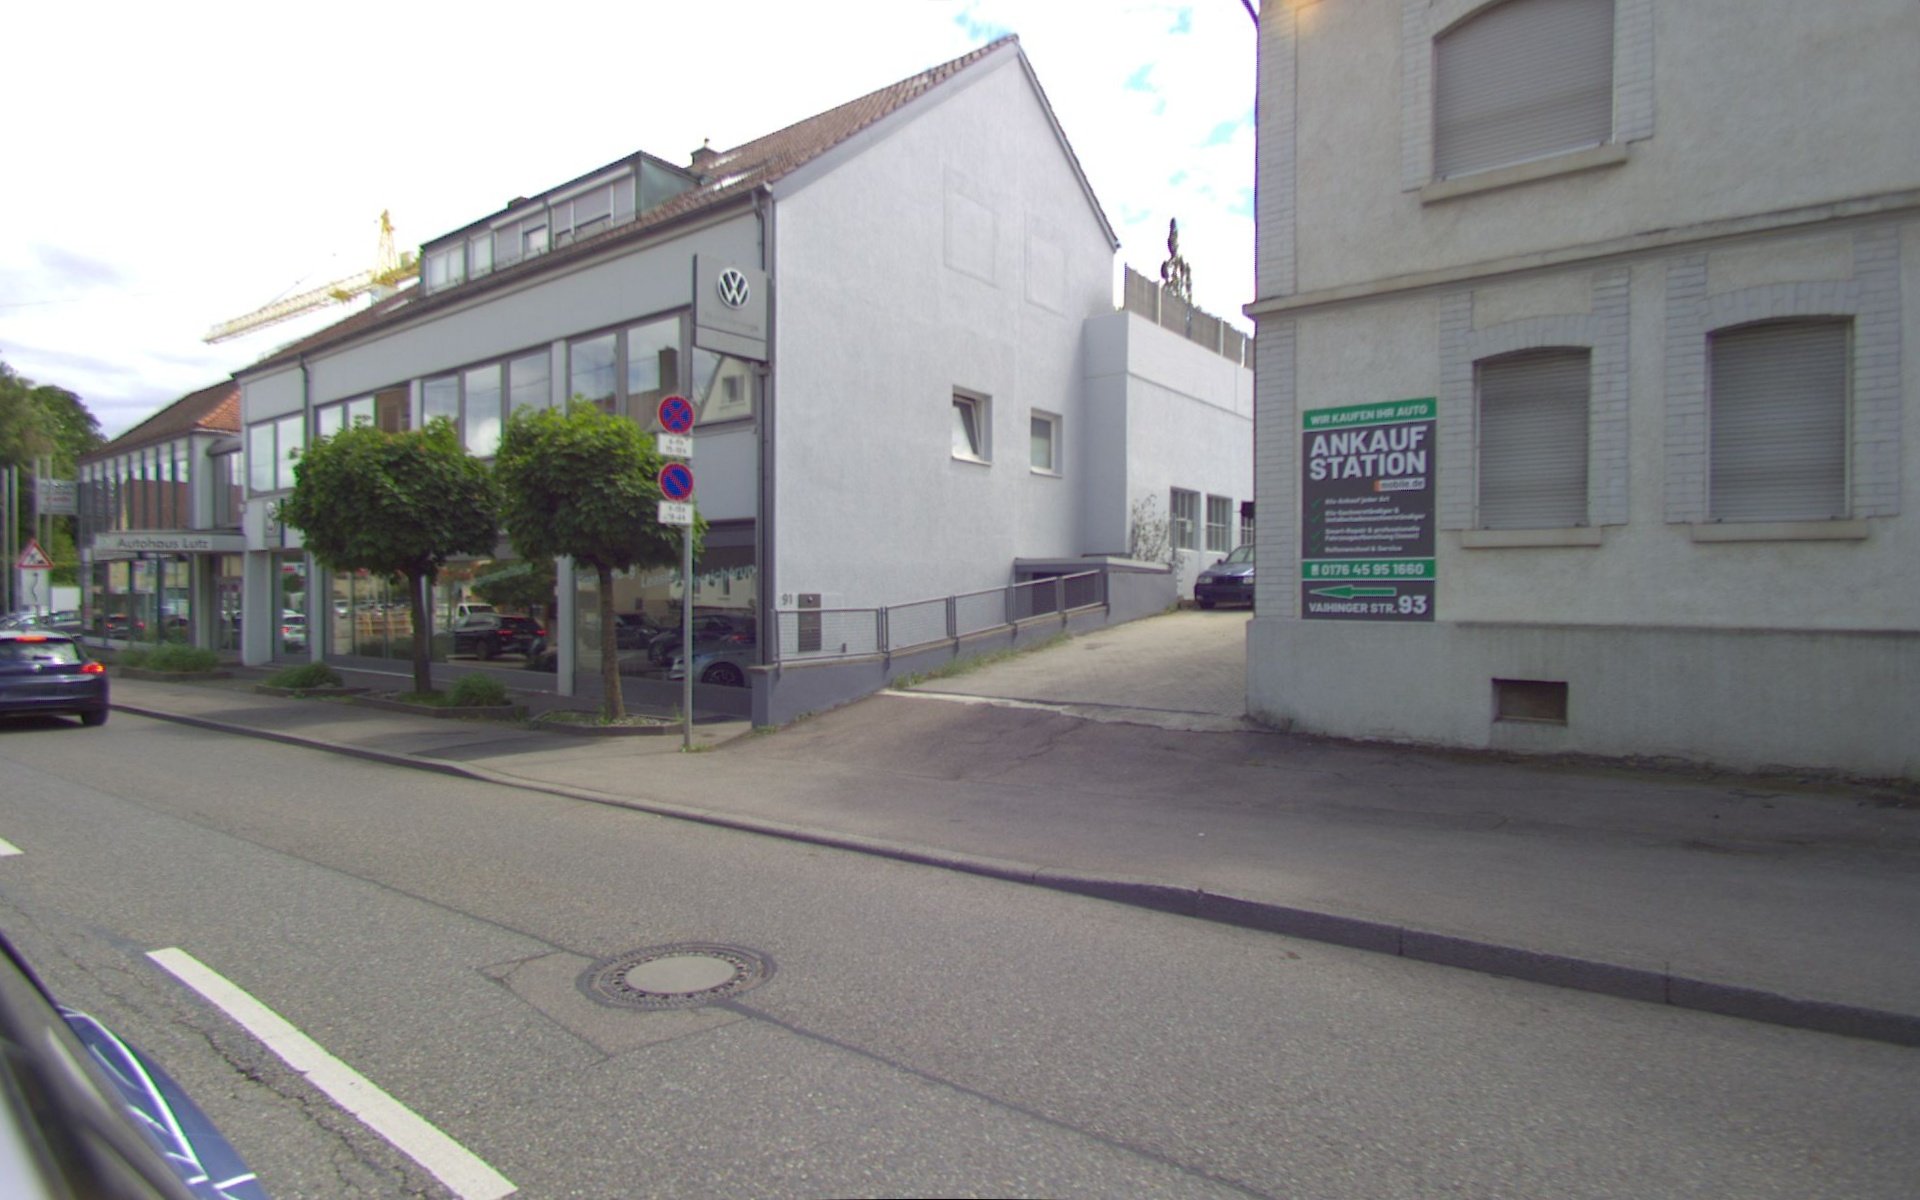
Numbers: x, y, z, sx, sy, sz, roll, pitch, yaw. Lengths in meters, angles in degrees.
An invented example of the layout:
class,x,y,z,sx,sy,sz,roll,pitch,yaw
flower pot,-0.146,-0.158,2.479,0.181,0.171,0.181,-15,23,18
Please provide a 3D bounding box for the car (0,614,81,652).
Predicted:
class,x,y,z,sx,sy,sz,roll,pitch,yaw
car,-44.810,1.596,48.139,1.900,1.653,4.250,-2,1,37

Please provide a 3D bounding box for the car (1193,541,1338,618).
class,x,y,z,sx,sy,sz,roll,pitch,yaw
car,6.345,-0.455,20.785,1.700,1.412,3.707,-2,2,36

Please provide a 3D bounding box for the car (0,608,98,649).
class,x,y,z,sx,sy,sz,roll,pitch,yaw
car,-40.546,1.242,44.521,1.531,1.572,3.708,-2,2,35

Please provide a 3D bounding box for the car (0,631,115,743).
class,x,y,z,sx,sy,sz,roll,pitch,yaw
car,-14.025,1.188,14.747,4.102,1.436,1.754,-1,-2,37

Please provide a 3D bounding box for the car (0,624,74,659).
class,x,y,z,sx,sy,sz,roll,pitch,yaw
car,-42.693,1.877,45.737,1.725,1.530,3.707,-2,-1,35

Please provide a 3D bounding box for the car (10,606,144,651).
class,x,y,z,sx,sy,sz,roll,pitch,yaw
car,-37.637,1.181,43.223,1.650,1.642,3.979,-2,2,35
